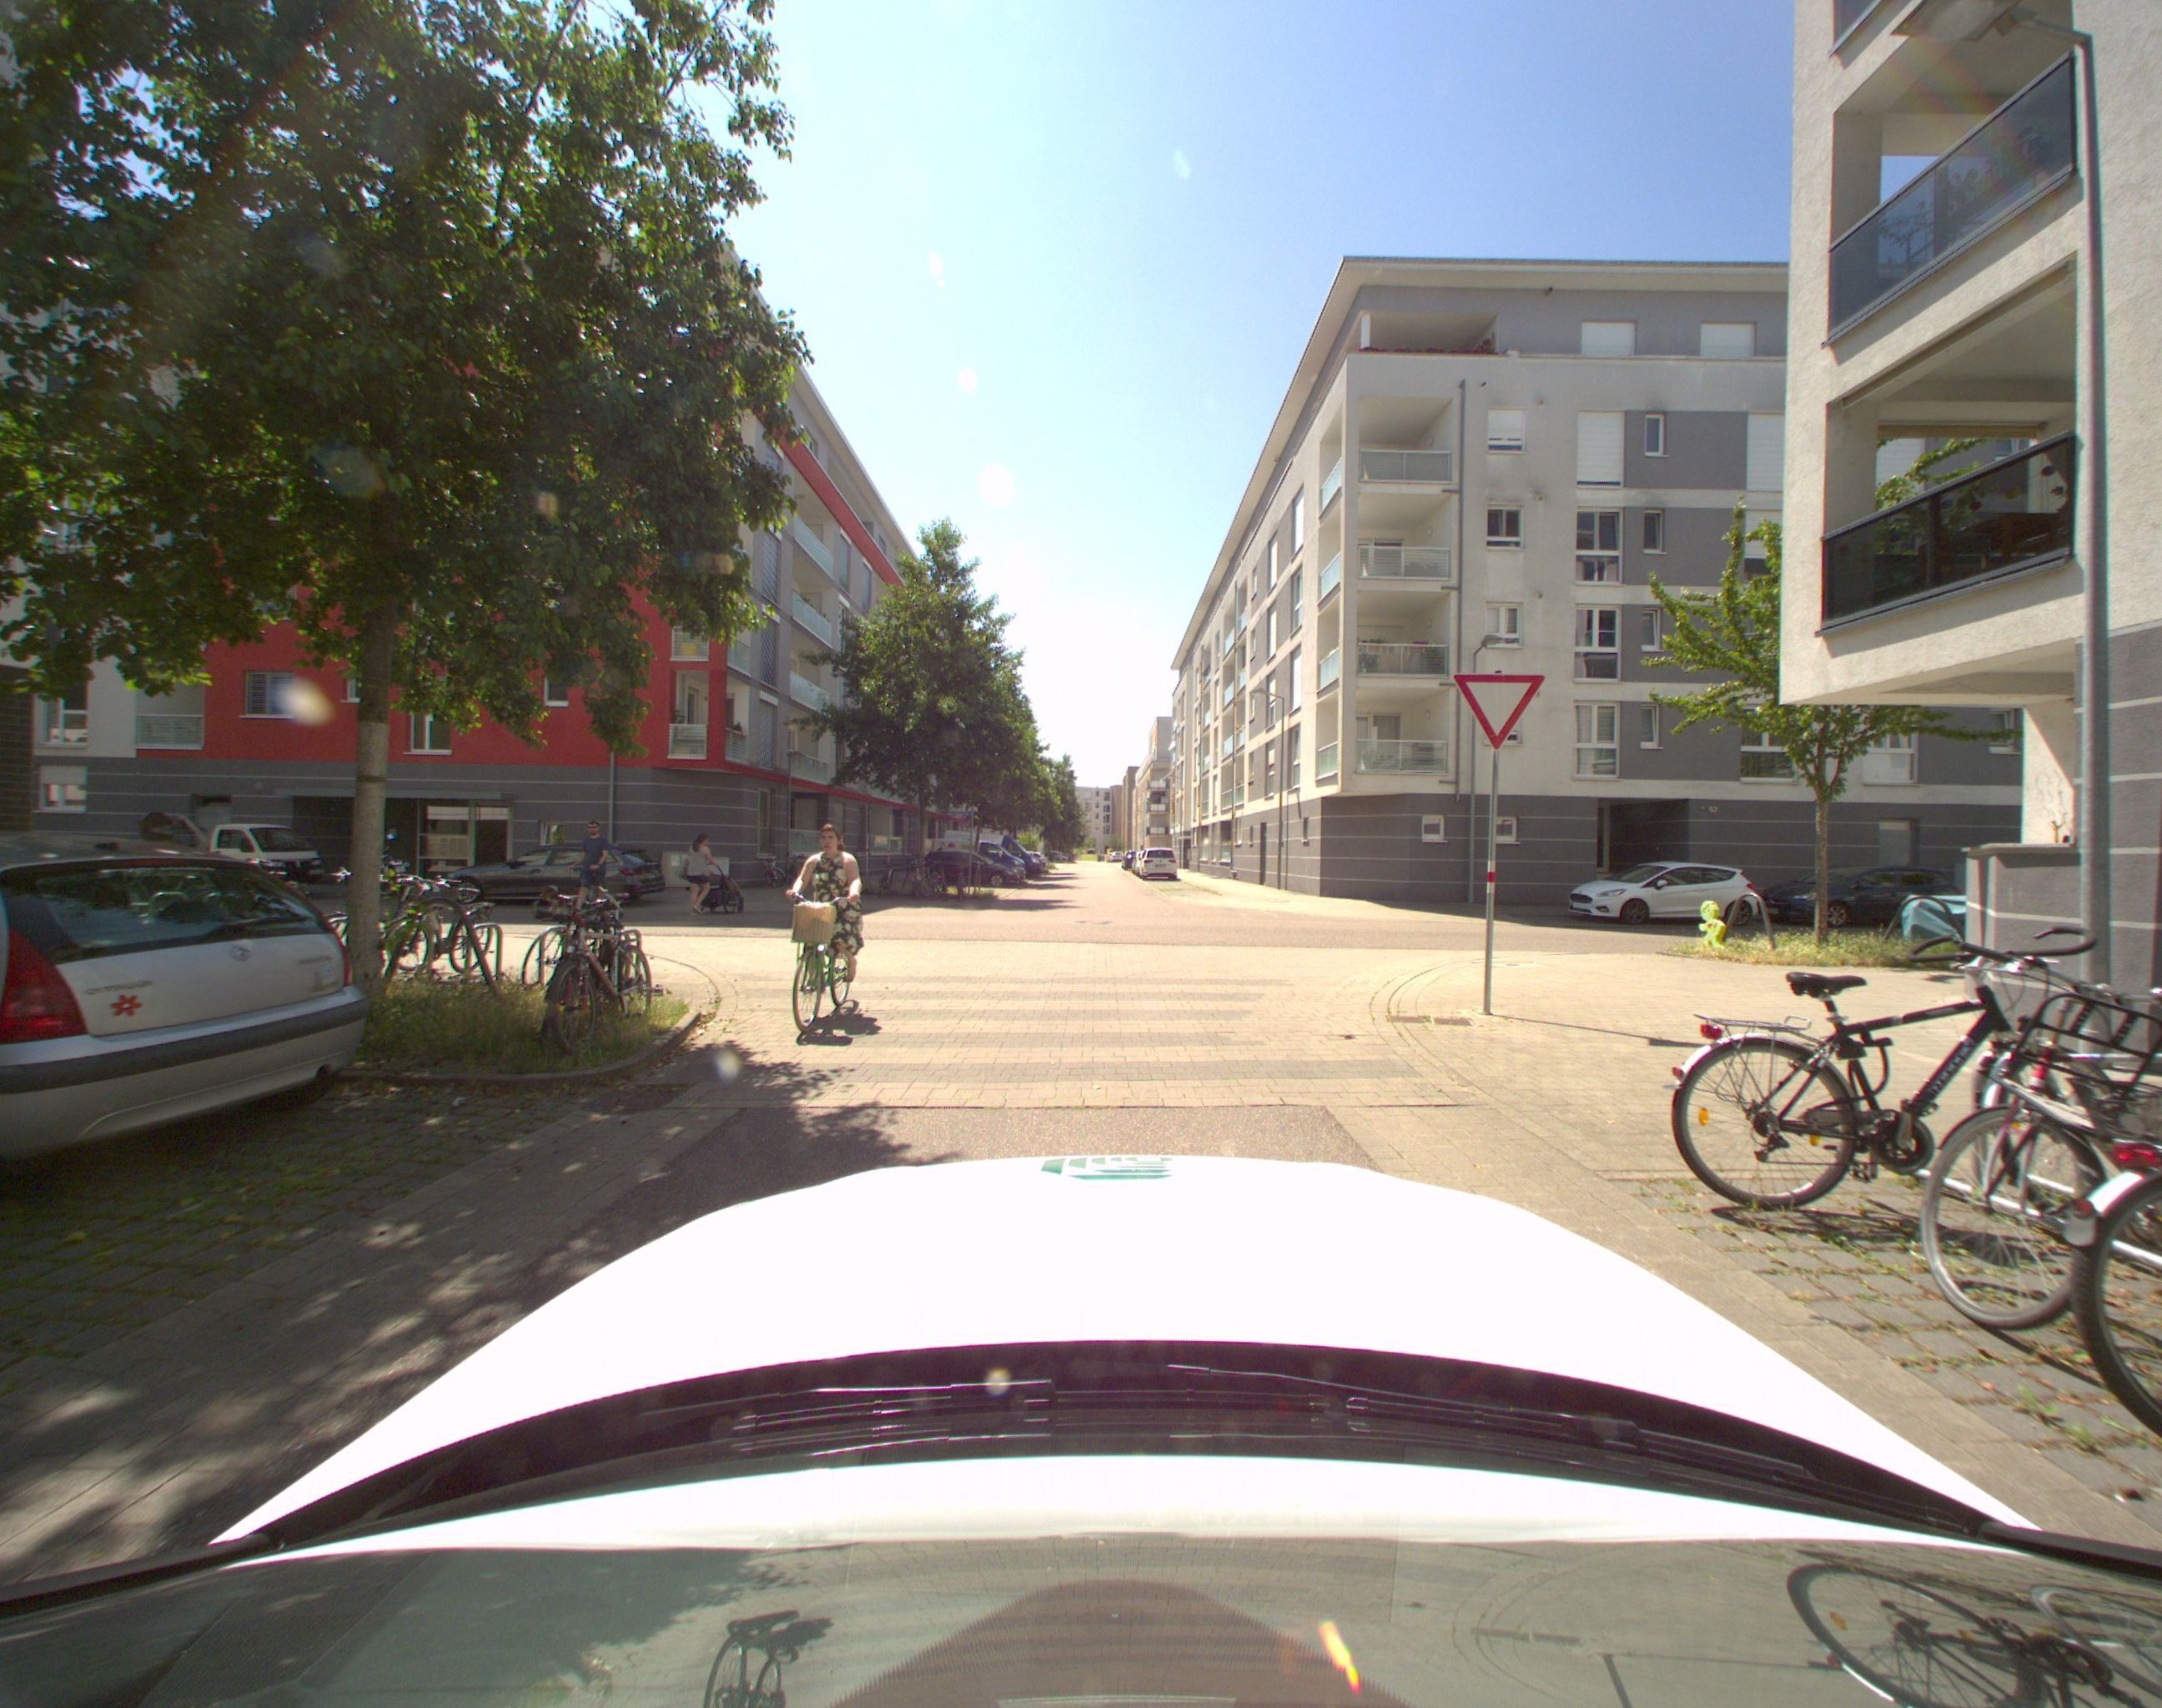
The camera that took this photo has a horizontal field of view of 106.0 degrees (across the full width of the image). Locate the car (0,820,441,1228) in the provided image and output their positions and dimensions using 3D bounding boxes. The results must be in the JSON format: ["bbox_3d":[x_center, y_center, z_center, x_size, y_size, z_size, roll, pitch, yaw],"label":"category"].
[{"bbox_3d":[-5.718,0.588,4.006,3.618,1.520,1.832,2,0,0],"label":"car"}]

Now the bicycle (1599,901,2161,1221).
[{"bbox_3d":[3.399,0.822,3.526,1.851,1.193,0.688,0,0,3],"label":"bicycle"}]

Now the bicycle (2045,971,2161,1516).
[{"bbox_3d":[3.245,0.848,1.529,1.911,1.133,0.611,0,0,9],"label":"bicycle"}]

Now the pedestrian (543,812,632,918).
[{"bbox_3d":[-9.665,0.204,15.989,1.004,2.013,1.130,0,0,4],"label":"pedestrian"}]

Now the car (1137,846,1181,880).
[{"bbox_3d":[3.995,0.426,42.276,1.990,1.657,4.116,0,0,1],"label":"car"}]

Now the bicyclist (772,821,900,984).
[{"bbox_3d":[-2.281,0.432,7.687,0.950,1.459,0.800,0,0,0],"label":"bicyclist"}]

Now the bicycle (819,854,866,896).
[{"bbox_3d":[-7.258,0.617,24.904,0.687,1.170,2.224,3,1,1],"label":"bicycle"}]

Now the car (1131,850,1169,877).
[{"bbox_3d":[4.011,0.518,47.978,1.986,1.524,4.001,0,0,1],"label":"car"}]

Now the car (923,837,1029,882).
[{"bbox_3d":[-5.385,0.259,42.319,5.127,2.119,2.312,2,0,0],"label":"car"}]

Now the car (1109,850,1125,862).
[{"bbox_3d":[4.885,0.249,110.943,1.987,1.675,3.999,1,0,0],"label":"car"}]

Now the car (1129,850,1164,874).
[{"bbox_3d":[4.208,0.500,52.806,1.987,1.524,3.999,0,0,0],"label":"car"}]

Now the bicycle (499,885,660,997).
[{"bbox_3d":[-5.226,0.861,8.621,0.531,0.990,1.678,3,0,3],"label":"bicycle"}]

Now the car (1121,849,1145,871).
[{"bbox_3d":[3.979,0.447,62.389,1.749,1.552,4.005,1,0,4],"label":"car"}]

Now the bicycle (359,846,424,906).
[{"bbox_3d":[-16.812,0.495,19.826,2.320,1.378,0.687,1,0,37],"label":"bicycle"}]

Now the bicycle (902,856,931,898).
[{"bbox_3d":[-5.089,0.692,25.267,0.517,1.204,1.751,2,1,-1],"label":"bicycle"}]

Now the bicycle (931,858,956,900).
[{"bbox_3d":[-4.199,0.745,25.003,0.569,1.174,1.765,4,1,-6],"label":"bicycle"}]

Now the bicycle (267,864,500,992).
[{"bbox_3d":[-7.285,0.713,8.667,0.744,1.173,1.924,0,0,3],"label":"bicycle"}]

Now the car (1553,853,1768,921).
[{"bbox_3d":[13.985,0.777,19.816,3.975,1.469,1.755,1,3,-1],"label":"car"}]

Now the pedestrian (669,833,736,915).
[{"bbox_3d":[-7.992,0.414,17.243,0.996,1.690,0.832,0,0,1],"label":"pedestrian"}]

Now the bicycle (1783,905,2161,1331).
[{"bbox_3d":[3.496,0.814,2.815,1.546,1.218,0.707,0,0,-1],"label":"bicycle"}]

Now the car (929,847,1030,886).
[{"bbox_3d":[-4.631,0.562,37.680,4.368,1.542,1.878,2,0,0],"label":"car"}]

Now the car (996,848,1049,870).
[{"bbox_3d":[-4.652,0.388,64.952,3.971,1.618,2.001,1,0,2],"label":"car"}]

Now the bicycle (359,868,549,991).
[{"bbox_3d":[-6.578,0.735,8.689,0.707,1.135,1.836,0,0,-5],"label":"bicycle"}]

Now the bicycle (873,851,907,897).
[{"bbox_3d":[-5.856,0.577,25.063,0.591,1.331,1.813,0,1,2],"label":"bicycle"}]

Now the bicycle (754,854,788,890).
[{"bbox_3d":[-9.983,0.561,26.293,0.607,1.107,2.099,1,0,-10],"label":"bicycle"}]

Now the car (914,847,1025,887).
[{"bbox_3d":[-4.745,0.543,35.129,4.368,1.515,2.075,3,0,0],"label":"car"}]

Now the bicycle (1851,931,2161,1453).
[{"bbox_3d":[3.354,0.831,2.134,1.911,1.179,0.640,0,0,9],"label":"bicycle"}]

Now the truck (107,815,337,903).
[{"bbox_3d":[-20.597,0.086,19.649,3.721,2.013,1.559,1,3,-2],"label":"truck"}]

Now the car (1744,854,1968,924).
[{"bbox_3d":[18.638,0.813,19.710,3.778,1.558,1.727,1,0,0],"label":"car"}]

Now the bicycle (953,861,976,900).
[{"bbox_3d":[-3.606,0.804,25.219,0.464,1.141,1.925,0,0,-1],"label":"bicycle"}]

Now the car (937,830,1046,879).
[{"bbox_3d":[-5.164,0.033,47.750,6.003,2.816,2.605,0,0,0],"label":"car"}]

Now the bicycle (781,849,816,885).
[{"bbox_3d":[-10.018,0.446,28.921,0.549,1.240,1.925,0,0,0],"label":"bicycle"}]

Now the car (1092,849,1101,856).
[{"bbox_3d":[3.723,-0.317,194.375,1.987,1.519,3.999,1,0,0],"label":"car"}]

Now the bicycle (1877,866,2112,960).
[{"bbox_3d":[13.663,0.818,12.285,0.784,1.238,2.237,1,0,-26],"label":"bicycle"}]

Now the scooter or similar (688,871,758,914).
[{"bbox_3d":[-7.953,0.848,18.145,1.064,0.888,1.019,1,0,2],"label":"scooter or similar"}]

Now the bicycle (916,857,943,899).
[{"bbox_3d":[-4.630,0.709,25.012,0.432,1.204,1.700,2,1,2],"label":"bicycle"}]

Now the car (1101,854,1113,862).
[{"bbox_3d":[4.828,0.748,152.240,1.987,1.519,3.999,1,0,0],"label":"car"}]

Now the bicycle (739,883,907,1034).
[{"bbox_3d":[-2.302,0.881,7.598,0.895,1.129,2.040,0,0,0],"label":"bicycle"}]

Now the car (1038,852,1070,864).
[{"bbox_3d":[-3.601,0.511,109.193,3.966,1.602,2.004,1,0,7],"label":"car"}]

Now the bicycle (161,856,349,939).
[{"bbox_3d":[-12.058,0.585,12.006,0.707,1.092,2.100,0,0,-3],"label":"bicycle"}]

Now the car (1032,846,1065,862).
[{"bbox_3d":[-4.195,0.017,106.593,3.965,2.013,2.004,1,0,7],"label":"car"}]

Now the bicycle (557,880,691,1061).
[{"bbox_3d":[-3.579,0.829,6.513,0.371,1.180,1.814,0,0,-11],"label":"bicycle"}]

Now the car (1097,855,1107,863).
[{"bbox_3d":[4.488,1.073,173.494,1.985,1.519,4.003,1,0,3],"label":"car"}]

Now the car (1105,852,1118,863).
[{"bbox_3d":[5.190,0.551,138.173,1.987,1.717,3.999,1,0,0],"label":"car"}]

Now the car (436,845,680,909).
[{"bbox_3d":[-12.422,0.517,19.606,4.560,1.383,1.936,1,2,-2],"label":"car"}]

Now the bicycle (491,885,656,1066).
[{"bbox_3d":[-3.939,0.854,6.487,0.434,1.128,1.971,0,0,-11],"label":"bicycle"}]
